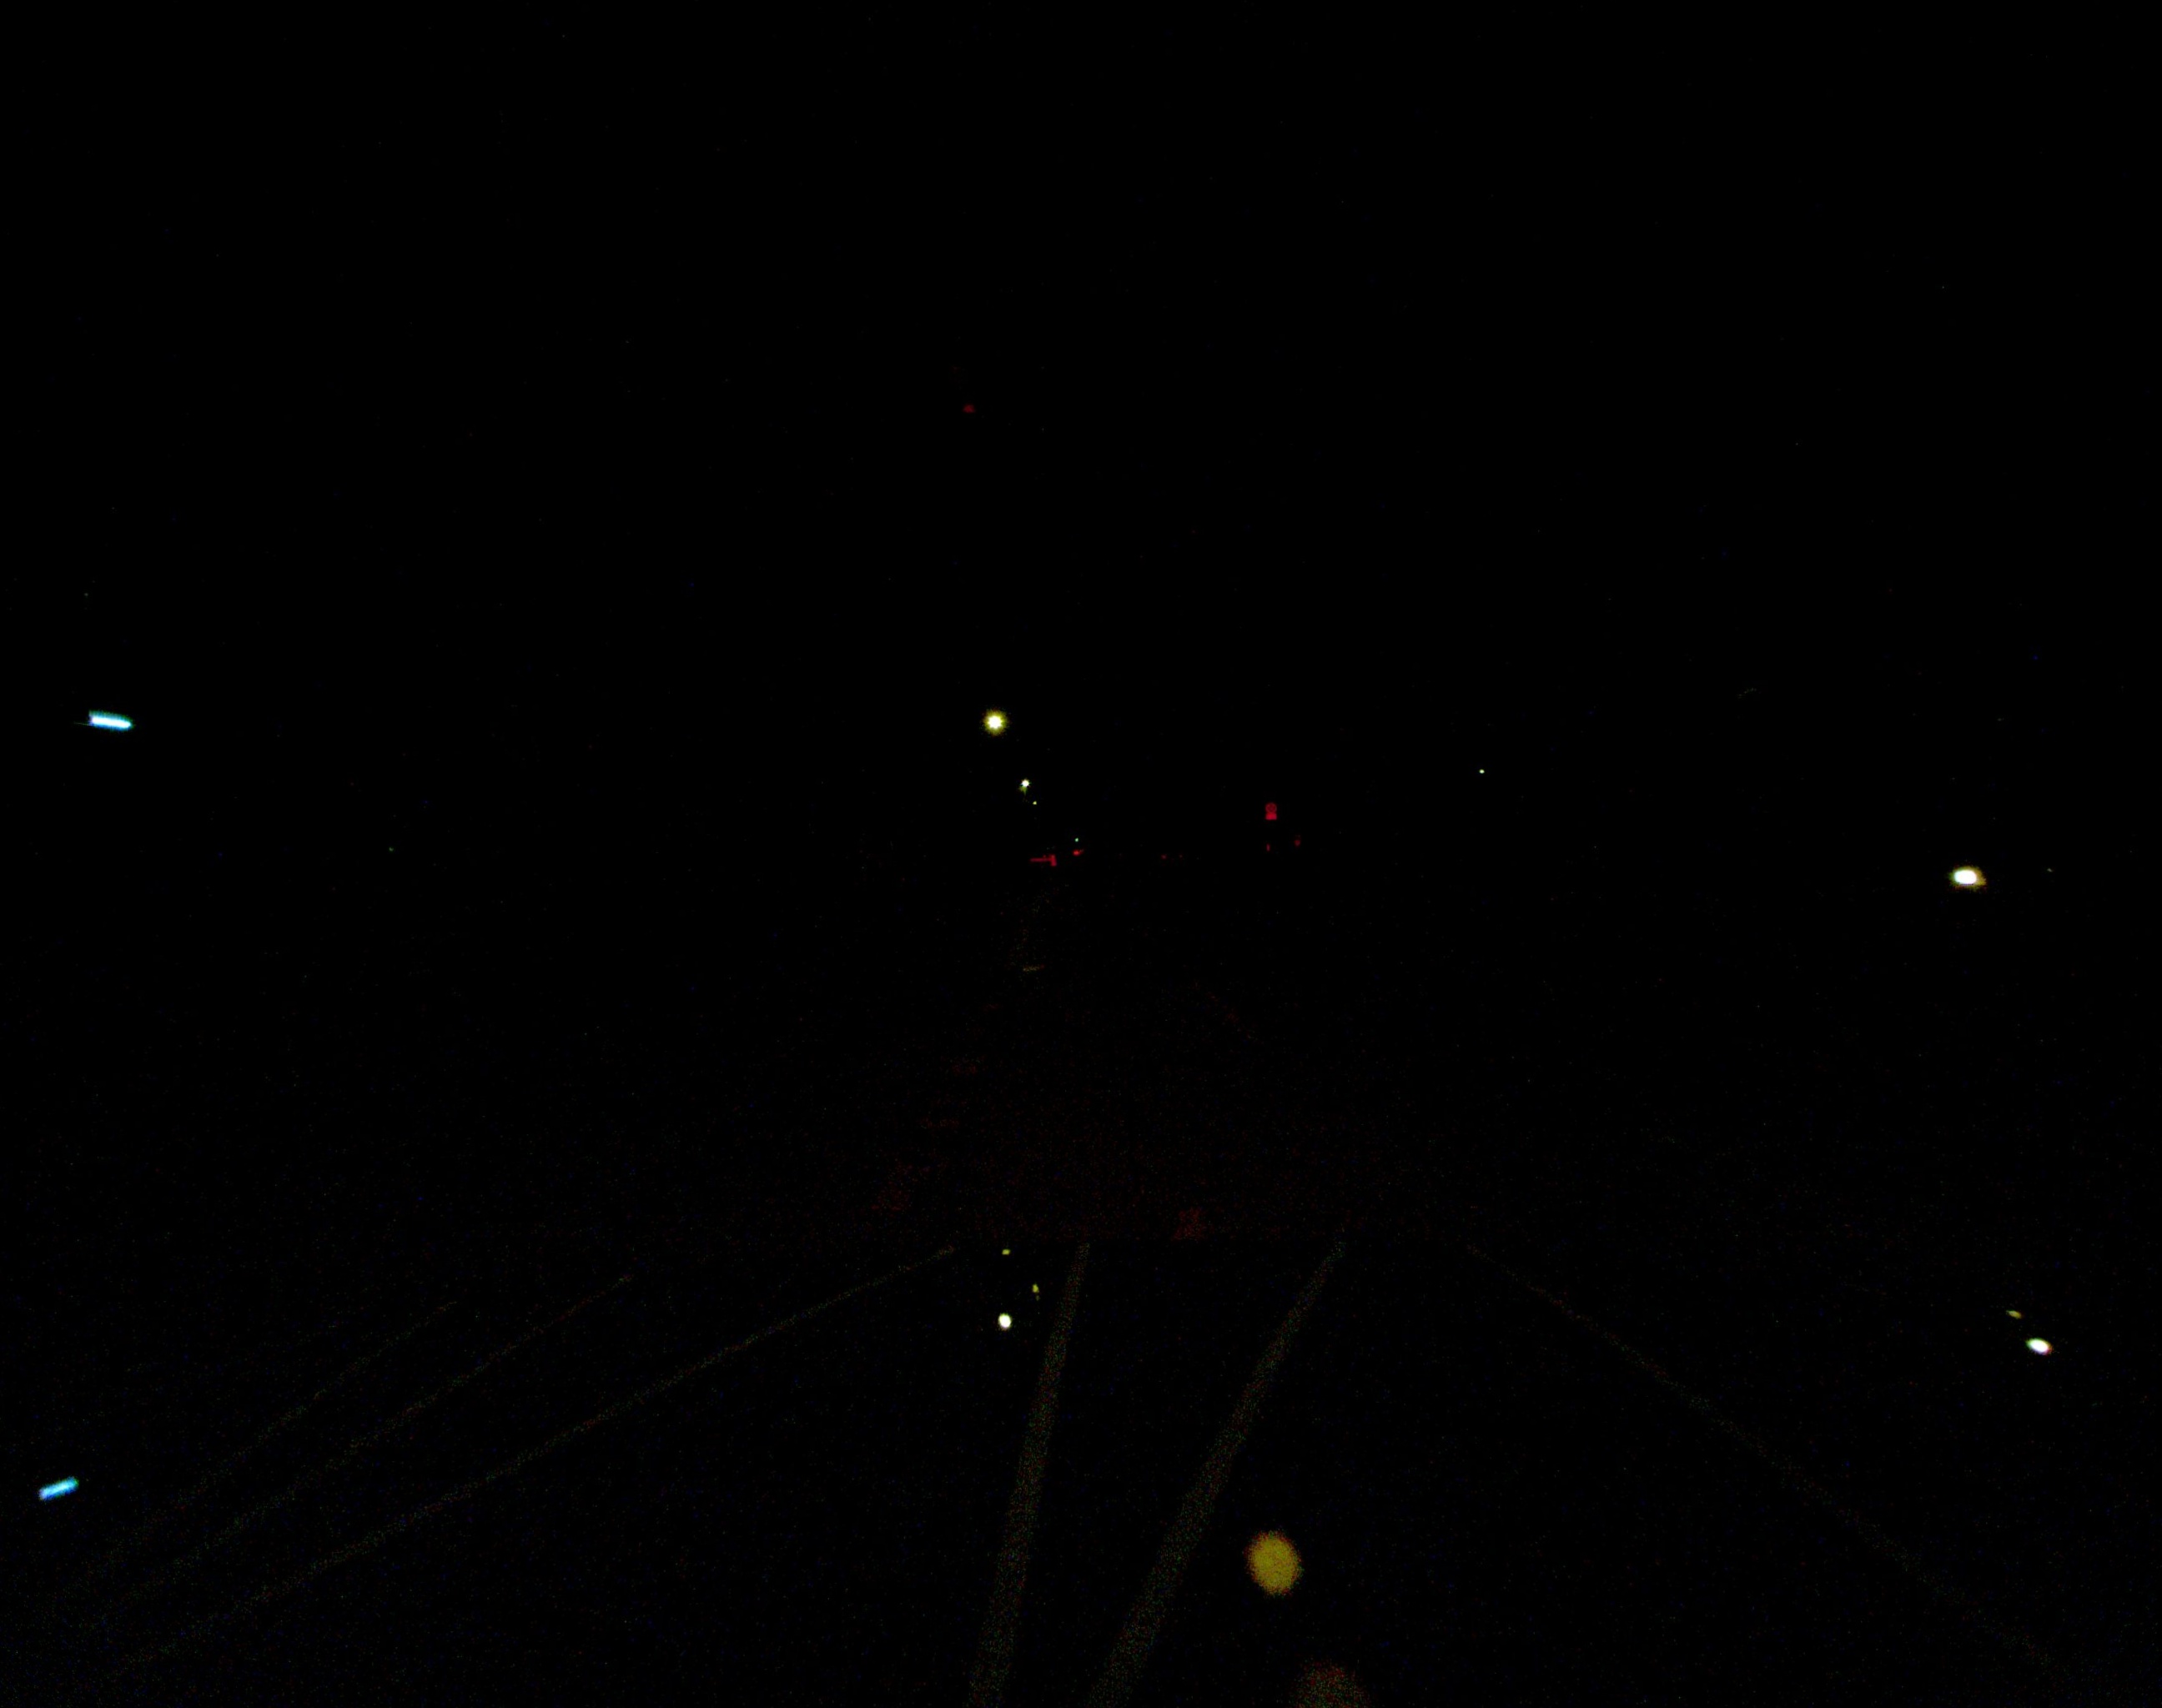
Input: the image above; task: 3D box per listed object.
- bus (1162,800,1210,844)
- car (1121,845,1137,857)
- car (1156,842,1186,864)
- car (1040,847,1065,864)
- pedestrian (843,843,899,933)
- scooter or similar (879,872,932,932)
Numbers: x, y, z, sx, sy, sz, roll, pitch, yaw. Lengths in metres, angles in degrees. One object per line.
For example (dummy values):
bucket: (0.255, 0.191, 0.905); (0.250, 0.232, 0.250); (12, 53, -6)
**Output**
bus: (17.581, -5.202, 129.175); (6.135, 6.898, 14.781); (-2, 1, 1)
car: (6.302, -0.453, 100.504); (1.863, 1.484, 4.080); (-2, 1, 1)
car: (7.160, -0.105, 60.903); (1.806, 1.583, 3.999); (-2, 1, 0)
car: (-2.906, 0.149, 78.186); (1.998, 1.638, 4.000); (1, 2, 5)
pedestrian: (-4.496, 0.707, 16.317); (0.819, 1.854, 1.034); (-2, 1, 1)
scooter or similar: (-3.696, 0.998, 16.055); (0.468, 1.195, 1.137); (-2, 0, 24)
